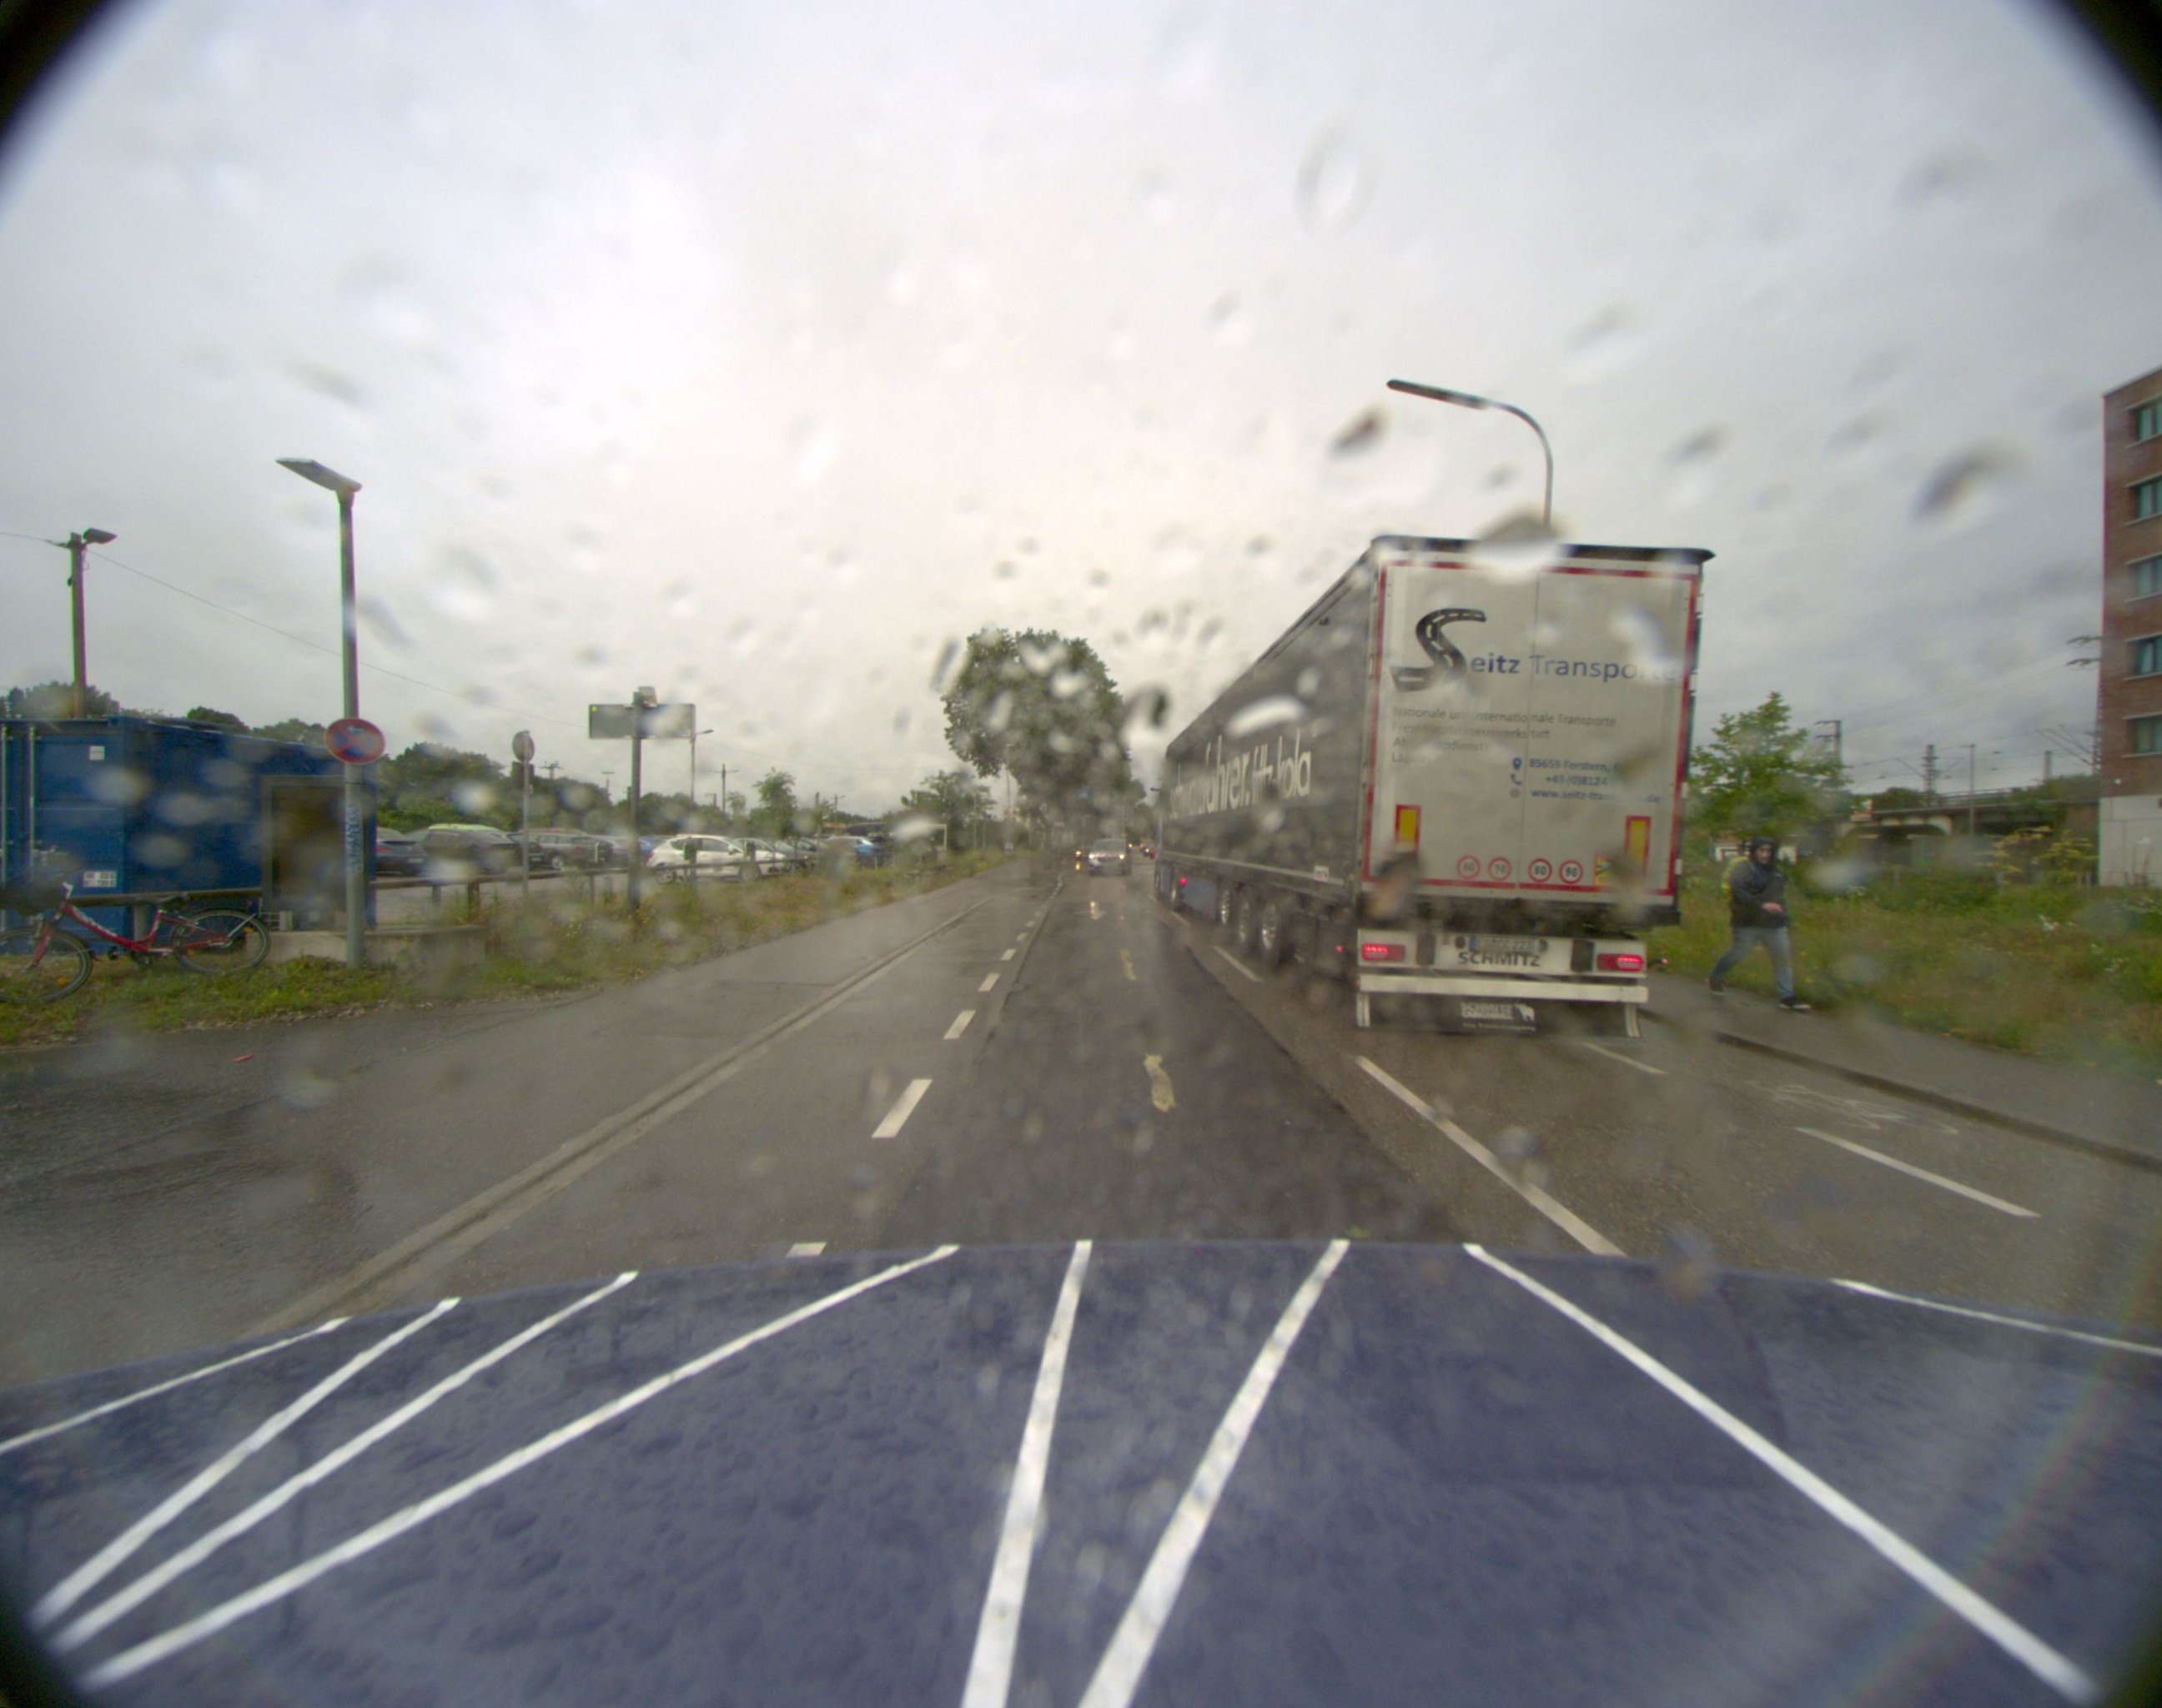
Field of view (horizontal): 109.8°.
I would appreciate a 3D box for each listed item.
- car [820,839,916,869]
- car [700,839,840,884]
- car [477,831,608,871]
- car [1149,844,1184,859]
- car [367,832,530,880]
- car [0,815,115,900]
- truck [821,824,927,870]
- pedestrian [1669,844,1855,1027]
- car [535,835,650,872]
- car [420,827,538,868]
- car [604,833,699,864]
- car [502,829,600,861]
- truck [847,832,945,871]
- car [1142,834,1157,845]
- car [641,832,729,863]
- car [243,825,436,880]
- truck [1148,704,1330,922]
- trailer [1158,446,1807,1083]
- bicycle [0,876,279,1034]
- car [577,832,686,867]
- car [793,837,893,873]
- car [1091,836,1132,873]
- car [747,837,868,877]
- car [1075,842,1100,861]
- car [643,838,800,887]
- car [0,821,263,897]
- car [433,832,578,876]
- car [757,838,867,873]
[{"bbox_3d":[-10.364,0.000,37.170,4.170,1.412,1.862,0,2,-2],"label":"car"},{"bbox_3d":[-10.365,0.220,25.550,3.906,1.415,1.905,0,2,-2],"label":"car"},{"bbox_3d":[-21.693,-0.131,30.714,3.961,1.419,1.887,2,2,3],"label":"car"},{"bbox_3d":[8.081,-0.246,72.207,1.746,1.373,3.992,1,1,-20],"label":"car"},{"bbox_3d":[-21.157,0.043,25.540,3.961,1.419,1.887,2,2,3],"label":"car"},{"bbox_3d":[-21.385,-0.002,14.420,3.961,1.481,1.778,2,2,3],"label":"car"},{"bbox_3d":[-10.914,-0.373,40.351,5.046,2.389,2.109,0,1,-2],"label":"truck"},{"bbox_3d":[6.806,0.765,7.668,0.911,1.708,1.026,1,1,1],"label":"pedestrian"},{"bbox_3d":[-21.577,-0.039,33.656,3.961,1.419,1.821,2,2,3],"label":"car"},{"bbox_3d":[-27.191,-0.314,34.376,3.995,1.790,1.797,1,1,5],"label":"car"},{"bbox_3d":[-22.196,-0.305,39.351,3.961,1.472,1.707,2,2,3],"label":"car"},{"bbox_3d":[-28.067,-0.494,40.335,3.996,1.630,1.765,1,1,2],"label":"car"},{"bbox_3d":[-11.107,-0.172,45.840,5.342,2.310,2.074,0,1,1],"label":"truck"},{"bbox_3d":[10.197,-2.123,114.012,1.853,1.593,4.500,-1,0,0],"label":"car"},{"bbox_3d":[-22.040,-0.373,42.346,3.961,1.528,1.807,2,2,3],"label":"car"},{"bbox_3d":[-21.953,-0.072,22.613,3.961,1.419,1.887,2,2,3],"label":"car"},{"bbox_3d":[3.642,-0.897,19.316,3.302,4.627,6.032,1,1,0],"label":"truck"},{"bbox_3d":[3.633,-0.709,12.458,3.302,4.627,13.731,1,1,0],"label":"trailer"},{"bbox_3d":[-7.804,0.754,6.173,0.507,1.078,1.705,2,1,21],"label":"bicycle"},{"bbox_3d":[-21.583,-0.247,36.577,4.075,1.482,1.926,2,2,3],"label":"car"},{"bbox_3d":[-10.762,0.023,34.569,3.906,1.586,1.896,0,2,-2],"label":"car"},{"bbox_3d":[1.562,0.017,37.640,1.837,1.714,4.174,1,0,5],"label":"car"},{"bbox_3d":[-10.281,0.092,28.784,3.906,1.415,1.778,0,2,-2],"label":"car"},{"bbox_3d":[0.604,-0.217,64.924,1.742,1.438,4.001,3,1,5],"label":"car"},{"bbox_3d":[-10.737,0.216,22.910,3.781,1.385,1.905,0,2,-2],"label":"car"},{"bbox_3d":[-21.445,0.076,17.225,3.961,1.481,1.778,2,2,3],"label":"car"},{"bbox_3d":[-21.226,-0.029,28.134,3.961,1.419,1.887,2,2,3],"label":"car"},{"bbox_3d":[-11.069,0.037,31.495,3.906,1.387,1.778,0,2,-2],"label":"car"}]
